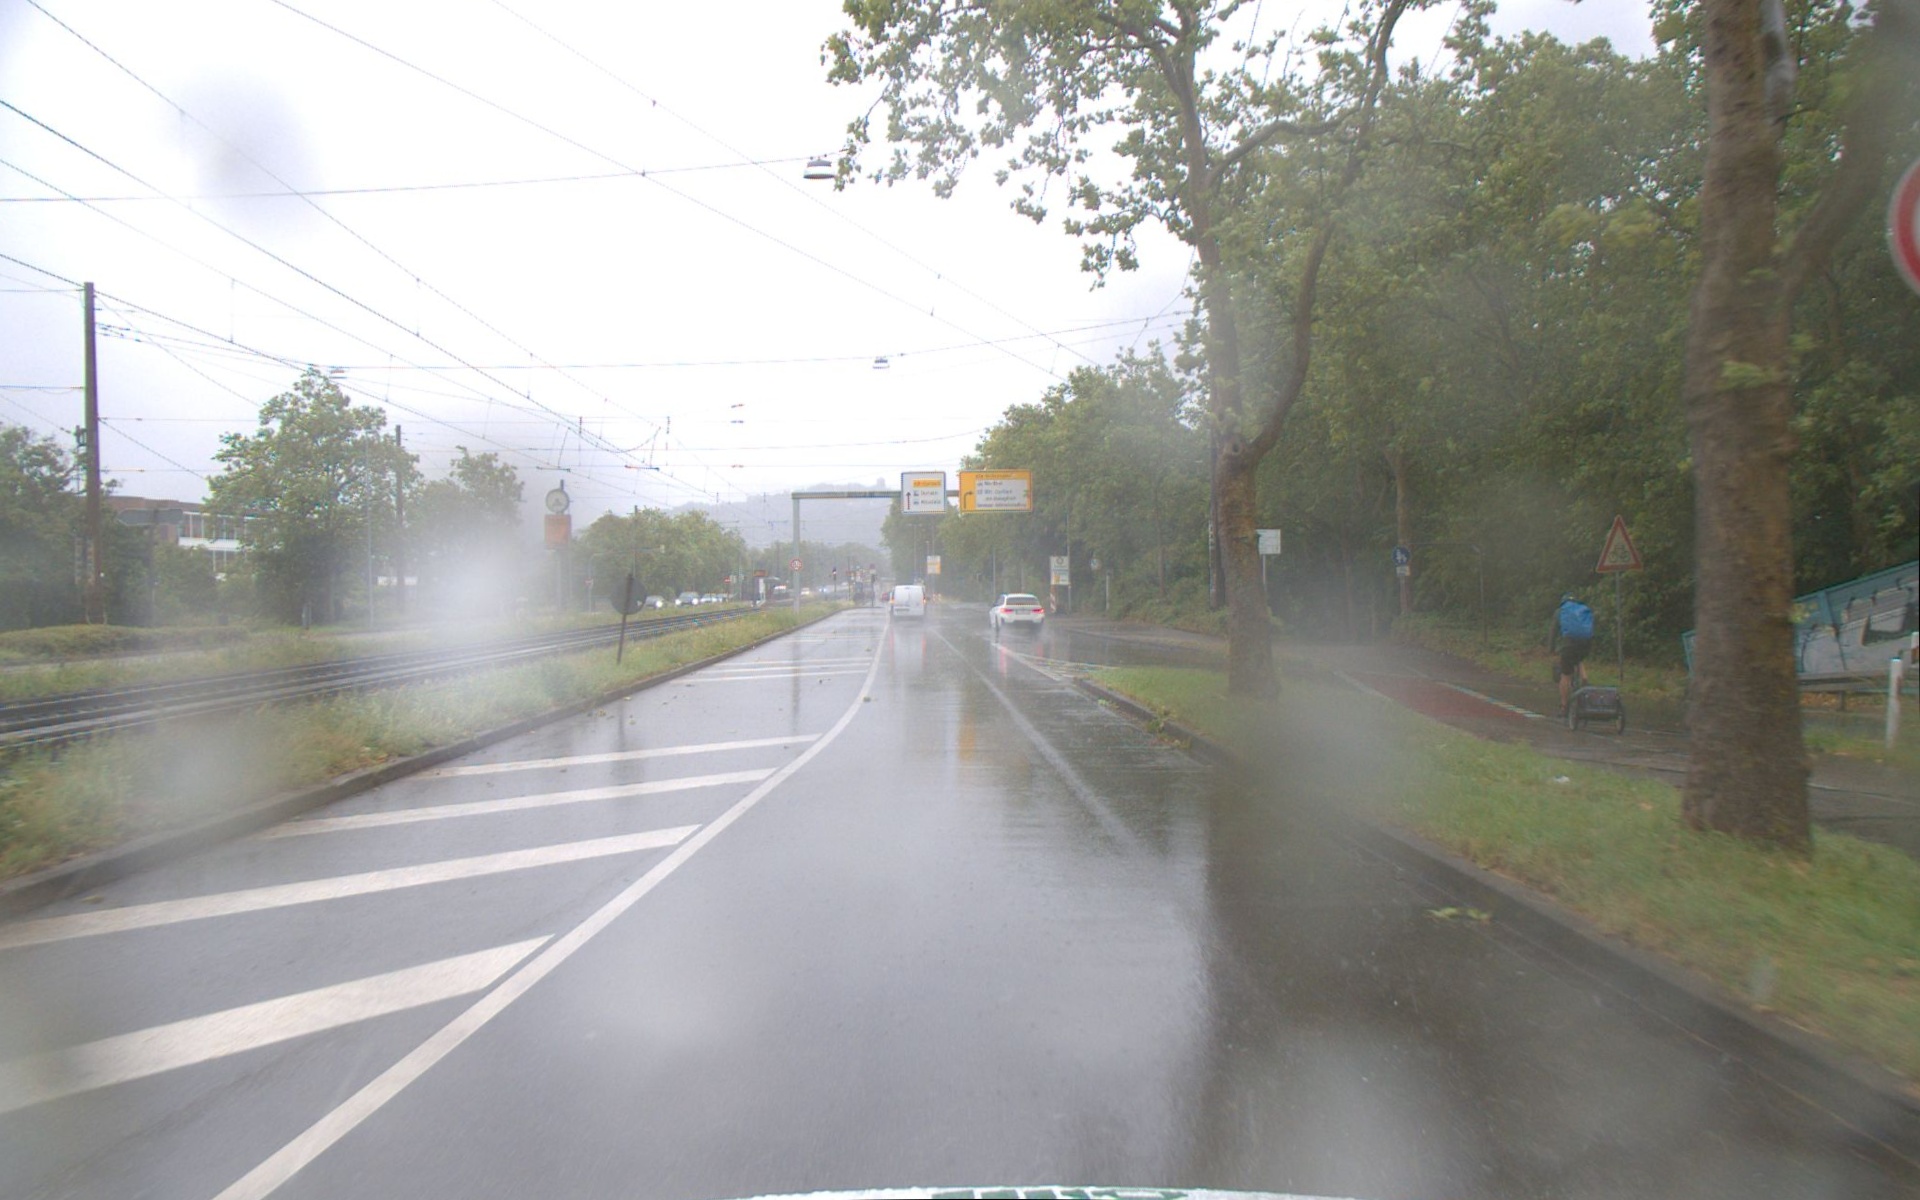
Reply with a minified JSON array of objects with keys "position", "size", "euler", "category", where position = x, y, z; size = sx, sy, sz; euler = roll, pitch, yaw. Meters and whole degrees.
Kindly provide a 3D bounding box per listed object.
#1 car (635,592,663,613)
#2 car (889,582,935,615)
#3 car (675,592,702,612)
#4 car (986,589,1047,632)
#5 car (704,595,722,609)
[{"position":[-26.510,0.195,141.295],"size":[1.905,1.716,4.775],"euler":[-1,0,-5],"category":"car"},{"position":[-2.261,-0.063,76.520],"size":[2.036,1.445,3.998],"euler":[-2,0,-2],"category":"car"},{"position":[-23.004,0.163,140.087],"size":[1.906,1.644,4.982],"euler":[-1,0,-6],"category":"car"},{"position":[2.080,0.382,62.211],"size":[1.909,1.563,4.463],"euler":[0,0,-3],"category":"car"},{"position":[-28.037,0.244,187.745],"size":[1.686,1.520,3.997],"euler":[0,0,-3],"category":"car"}]
